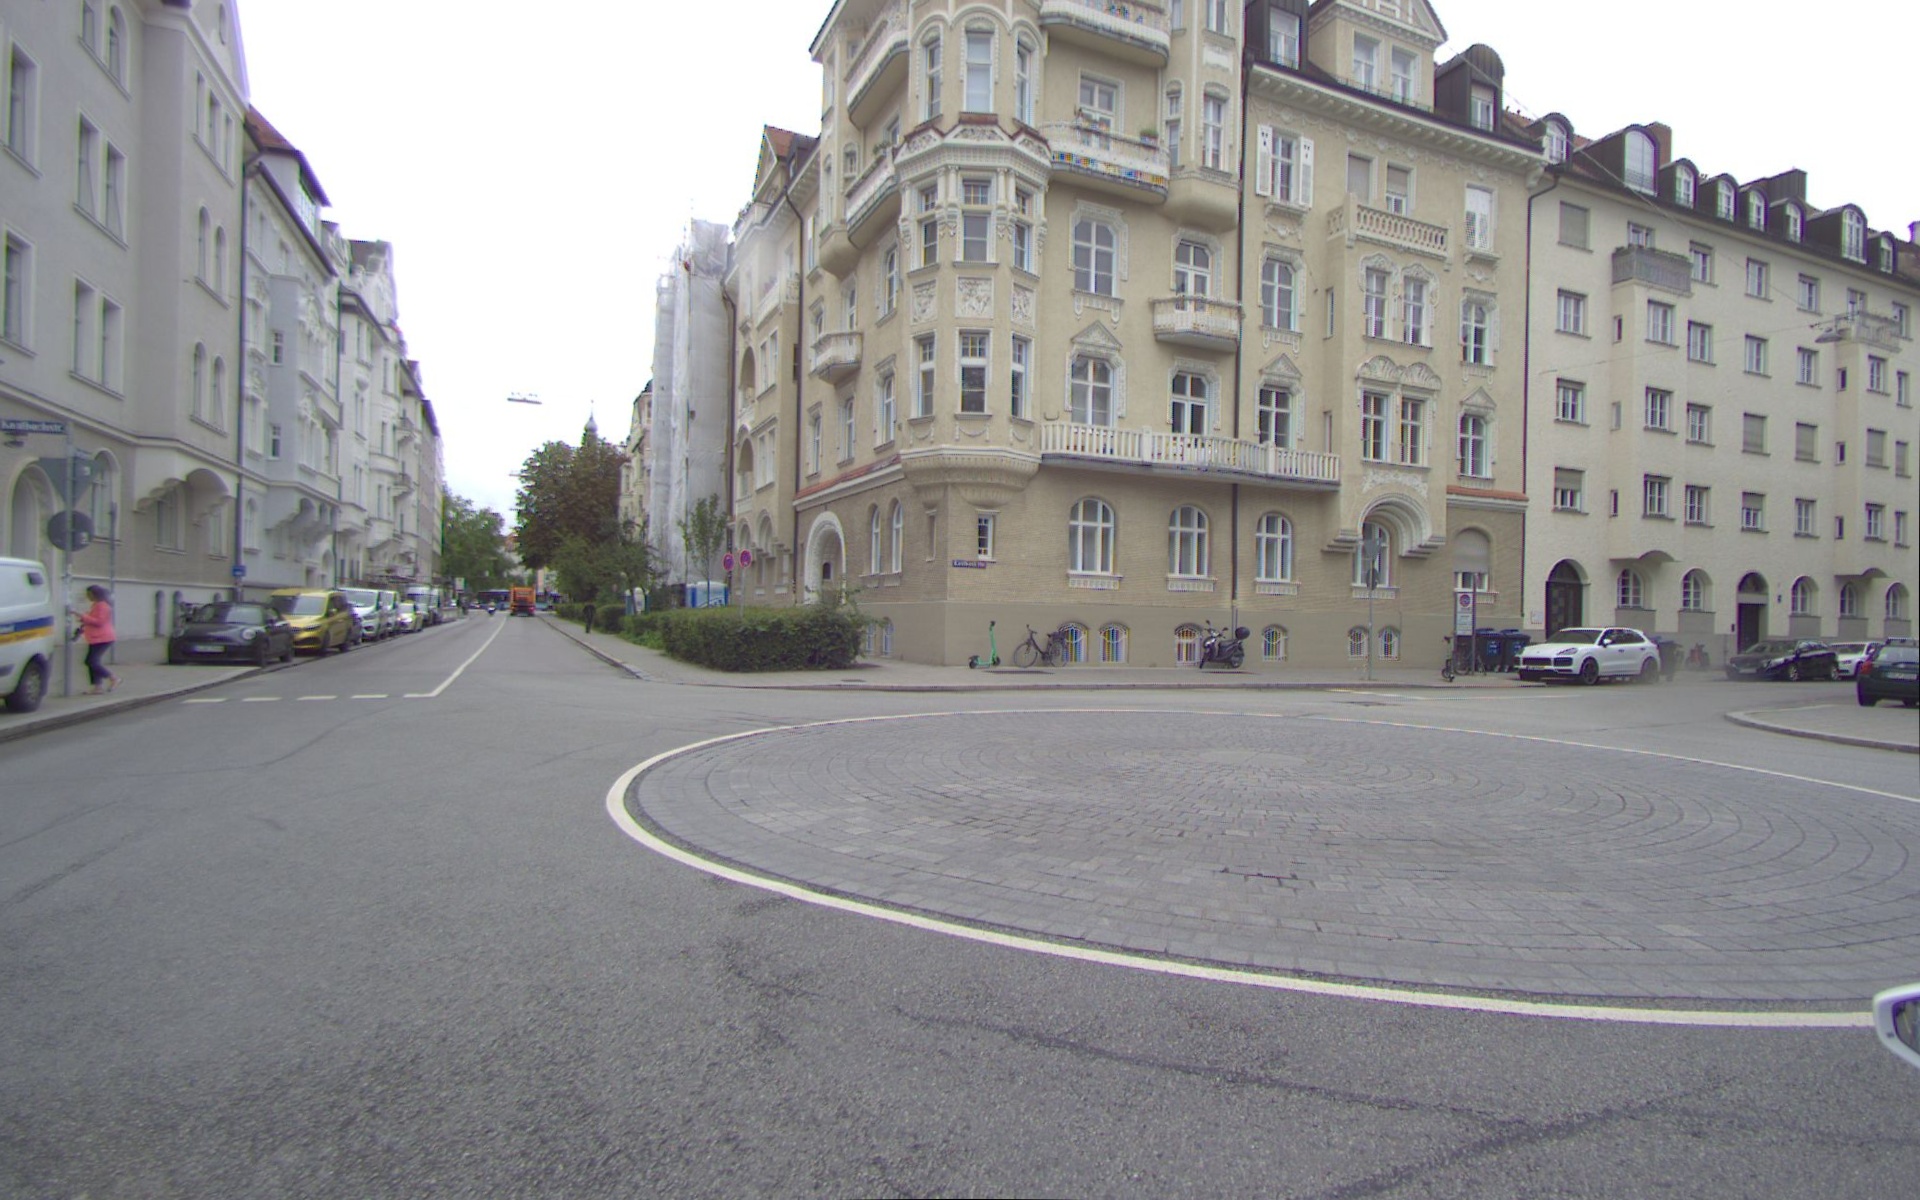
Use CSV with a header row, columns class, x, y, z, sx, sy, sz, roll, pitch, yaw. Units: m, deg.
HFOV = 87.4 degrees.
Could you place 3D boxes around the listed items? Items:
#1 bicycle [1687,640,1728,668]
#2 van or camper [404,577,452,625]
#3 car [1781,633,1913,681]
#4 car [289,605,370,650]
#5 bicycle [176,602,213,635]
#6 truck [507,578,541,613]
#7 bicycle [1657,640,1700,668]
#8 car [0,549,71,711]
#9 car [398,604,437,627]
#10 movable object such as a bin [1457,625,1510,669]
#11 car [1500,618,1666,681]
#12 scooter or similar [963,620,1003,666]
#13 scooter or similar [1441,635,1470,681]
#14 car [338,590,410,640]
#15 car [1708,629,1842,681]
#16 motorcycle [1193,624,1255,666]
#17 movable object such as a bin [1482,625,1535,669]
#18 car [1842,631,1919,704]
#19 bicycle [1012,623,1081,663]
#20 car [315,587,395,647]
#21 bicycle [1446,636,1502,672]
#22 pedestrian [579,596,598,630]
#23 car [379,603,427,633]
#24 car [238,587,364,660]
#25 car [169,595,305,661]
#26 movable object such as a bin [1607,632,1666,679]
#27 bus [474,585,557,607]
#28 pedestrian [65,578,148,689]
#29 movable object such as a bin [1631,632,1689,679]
class,x,y,z,sx,sy,sz,roll,pitch,yaw
bicycle,29.864,2.156,40.130,1.806,1.063,0.561,2,-1,-26
van or camper,-35.169,0.049,66.607,1.971,2.952,6.405,2,0,-21
car,32.379,2.052,36.664,4.346,1.602,1.970,2,0,-24
car,-20.417,0.891,32.654,1.673,1.364,3.519,2,-1,-23
bicycle,-25.499,0.603,33.474,0.484,1.063,1.821,1,-1,-21
truck,-48.579,-0.468,112.099,3.145,3.671,8.685,1,-1,-22
bicycle,28.076,2.098,39.251,1.806,1.063,0.561,2,-1,-26
car,-12.011,0.329,11.045,1.898,1.905,4.882,2,-1,-24
car,-32.688,0.934,60.620,1.673,1.364,3.520,2,-1,-22
movable object such as a bin,17.523,1.569,33.632,1.157,1.444,1.088,2,-1,-23
car,18.653,1.466,30.047,4.776,1.723,1.969,2,0,-26
scooter or similar,0.605,1.100,25.909,0.459,1.130,1.212,1,0,33
scooter or similar,13.880,1.605,28.131,0.458,1.209,1.216,1,0,14
car,-25.411,0.656,43.688,2.095,2.020,4.795,2,-1,-24
car,28.048,1.871,34.554,4.654,1.637,1.967,2,0,-29
motorcycle,7.722,1.325,29.402,1.806,1.192,0.596,1,-1,-26
movable object such as a bin,18.604,1.588,34.104,1.157,1.444,1.088,2,-1,-23
car,21.806,1.485,22.492,4.370,1.525,1.810,2,-2,-30
bicycle,2.330,1.154,26.999,1.806,1.063,0.561,2,-1,-26
car,-22.869,0.654,38.165,2.096,2.119,4.791,2,-1,-26
bicycle,15.769,1.653,30.786,1.806,1.063,0.561,2,-1,-26
pedestrian,-19.786,0.682,53.489,0.865,1.749,1.045,2,-1,-25
car,-27.202,0.890,49.120,1.673,1.364,3.519,2,-1,-23
car,-18.280,0.659,28.079,1.997,1.863,4.117,2,-1,-20
car,-16.423,0.627,23.007,1.673,1.364,3.660,2,-1,-22
movable object such as a bin,21.456,1.745,31.856,1.157,1.444,1.088,2,-1,-23
bus,-66.292,-0.482,150.434,2.667,2.937,14.559,1,-1,16
pedestrian,-13.254,0.509,15.599,0.722,1.658,0.851,1,-1,41
movable object such as a bin,22.527,1.785,32.338,1.157,1.444,1.088,2,-1,-23
